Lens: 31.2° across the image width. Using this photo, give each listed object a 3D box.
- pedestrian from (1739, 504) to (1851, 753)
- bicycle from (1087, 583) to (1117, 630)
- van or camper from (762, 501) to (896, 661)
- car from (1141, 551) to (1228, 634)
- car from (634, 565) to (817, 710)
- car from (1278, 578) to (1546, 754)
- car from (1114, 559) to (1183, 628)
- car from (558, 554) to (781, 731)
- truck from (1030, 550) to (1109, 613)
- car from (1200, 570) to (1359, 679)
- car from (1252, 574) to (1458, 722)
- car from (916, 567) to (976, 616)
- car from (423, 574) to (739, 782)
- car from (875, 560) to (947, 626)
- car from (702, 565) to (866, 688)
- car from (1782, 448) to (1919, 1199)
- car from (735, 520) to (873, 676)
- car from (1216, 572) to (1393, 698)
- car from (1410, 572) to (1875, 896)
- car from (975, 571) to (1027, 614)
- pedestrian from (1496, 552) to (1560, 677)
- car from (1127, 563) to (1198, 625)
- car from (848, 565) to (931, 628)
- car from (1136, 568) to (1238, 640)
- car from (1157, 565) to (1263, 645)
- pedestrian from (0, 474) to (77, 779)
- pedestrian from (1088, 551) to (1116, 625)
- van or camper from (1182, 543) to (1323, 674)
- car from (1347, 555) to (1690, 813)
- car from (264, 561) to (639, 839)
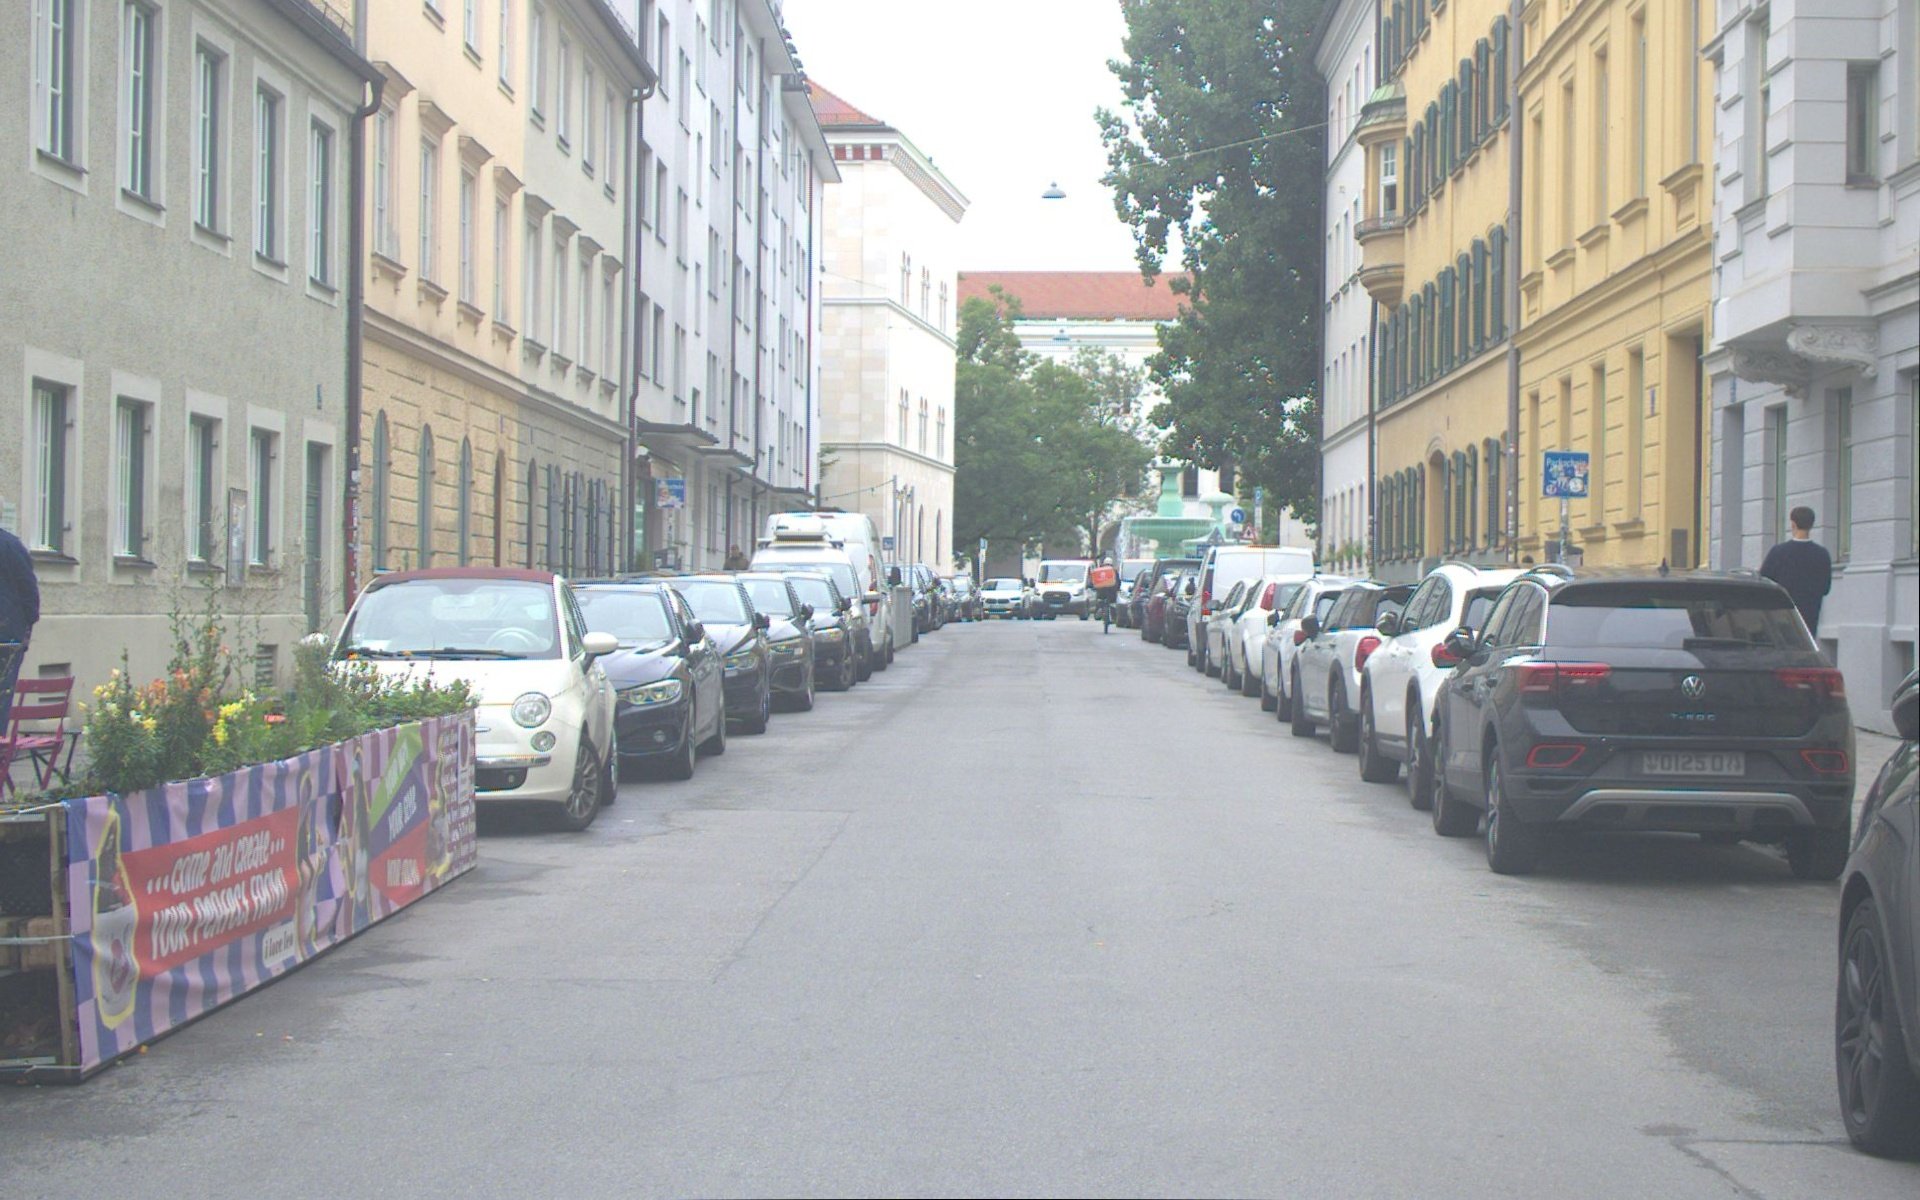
[{"bbox_3d":[6.815,0.233,28.080,0.669,1.974,0.708,-3,-1,2],"label":"pedestrian"},{"bbox_3d":[3.309,0.158,80.140,0.675,1.091,1.760,0,-1,2],"label":"bicycle"},{"bbox_3d":[-1.935,-0.288,52.091,1.754,2.273,5.273,1,0,1],"label":"van or camper"},{"bbox_3d":[5.131,-0.175,79.035,1.812,1.791,4.246,2,0,2],"label":"car"},{"bbox_3d":[-2.454,0.359,36.799,1.816,1.436,4.132,0,1,-2],"label":"car"},{"bbox_3d":[3.873,0.521,30.057,1.708,1.400,4.207,1,0,-1],"label":"car"},{"bbox_3d":[5.393,-0.190,98.803,1.852,1.913,4.769,1,0,2],"label":"car"},{"bbox_3d":[-2.598,0.352,31.606,1.754,1.491,4.201,1,0,-1],"label":"car"},{"bbox_3d":[4.076,-0.653,127.137,2.122,2.240,6.183,0,0,9],"label":"truck"},{"bbox_3d":[4.310,0.309,46.925,1.708,1.388,4.207,1,0,-1],"label":"car"},{"bbox_3d":[4.048,0.451,35.892,1.708,1.404,4.814,1,0,2],"label":"car"},{"bbox_3d":[-0.435,-0.292,113.765,1.707,1.604,3.862,0,0,4],"label":"car"},{"bbox_3d":[-2.738,0.513,25.811,1.798,1.335,4.685,1,1,0],"label":"car"},{"bbox_3d":[-1.202,-0.179,85.903,1.706,1.604,3.863,0,0,1],"label":"car"},{"bbox_3d":[-2.099,0.293,41.852,1.754,1.404,4.103,1,0,0],"label":"car"},{"bbox_3d":[3.230,0.601,7.118,1.998,1.858,5.252,1,1,3],"label":"car"},{"bbox_3d":[-2.127,-0.042,46.867,1.754,1.988,4.626,1,0,-3],"label":"car"},{"bbox_3d":[4.201,0.402,42.398,1.708,1.449,4.097,1,0,-1],"label":"car"},{"bbox_3d":[3.541,0.627,18.572,1.754,1.516,4.274,1,0,2],"label":"car"},{"bbox_3d":[1.554,-0.284,128.345,1.707,1.576,3.862,0,0,4],"label":"car"},{"bbox_3d":[7.300,0.192,44.207,0.660,1.566,0.642,-2,-1,1],"label":"pedestrian"},{"bbox_3d":[5.448,-0.164,92.922,1.812,1.609,4.155,1,0,2],"label":"car"},{"bbox_3d":[-1.621,-0.091,80.632,1.817,1.439,3.818,0,0,1],"label":"car"},{"bbox_3d":[4.726,0.074,72.022,1.812,1.420,4.247,2,0,0],"label":"car"},{"bbox_3d":[4.835,0.090,66.990,1.812,1.460,4.246,2,0,1],"label":"car"},{"bbox_3d":[-6.137,0.167,21.823,0.822,1.891,0.827,0,-1,1],"label":"pedestrian"},{"bbox_3d":[3.313,-0.285,80.152,0.642,1.708,0.842,0,-1,2],"label":"pedestrian"},{"bbox_3d":[4.390,0.101,52.232,1.834,1.865,5.079,1,0,2],"label":"van or camper"},{"bbox_3d":[3.740,0.512,23.720,1.743,1.578,4.466,1,0,2],"label":"car"},{"bbox_3d":[-2.940,0.525,20.566,1.754,1.470,3.714,2,1,-2],"label":"car"}]
